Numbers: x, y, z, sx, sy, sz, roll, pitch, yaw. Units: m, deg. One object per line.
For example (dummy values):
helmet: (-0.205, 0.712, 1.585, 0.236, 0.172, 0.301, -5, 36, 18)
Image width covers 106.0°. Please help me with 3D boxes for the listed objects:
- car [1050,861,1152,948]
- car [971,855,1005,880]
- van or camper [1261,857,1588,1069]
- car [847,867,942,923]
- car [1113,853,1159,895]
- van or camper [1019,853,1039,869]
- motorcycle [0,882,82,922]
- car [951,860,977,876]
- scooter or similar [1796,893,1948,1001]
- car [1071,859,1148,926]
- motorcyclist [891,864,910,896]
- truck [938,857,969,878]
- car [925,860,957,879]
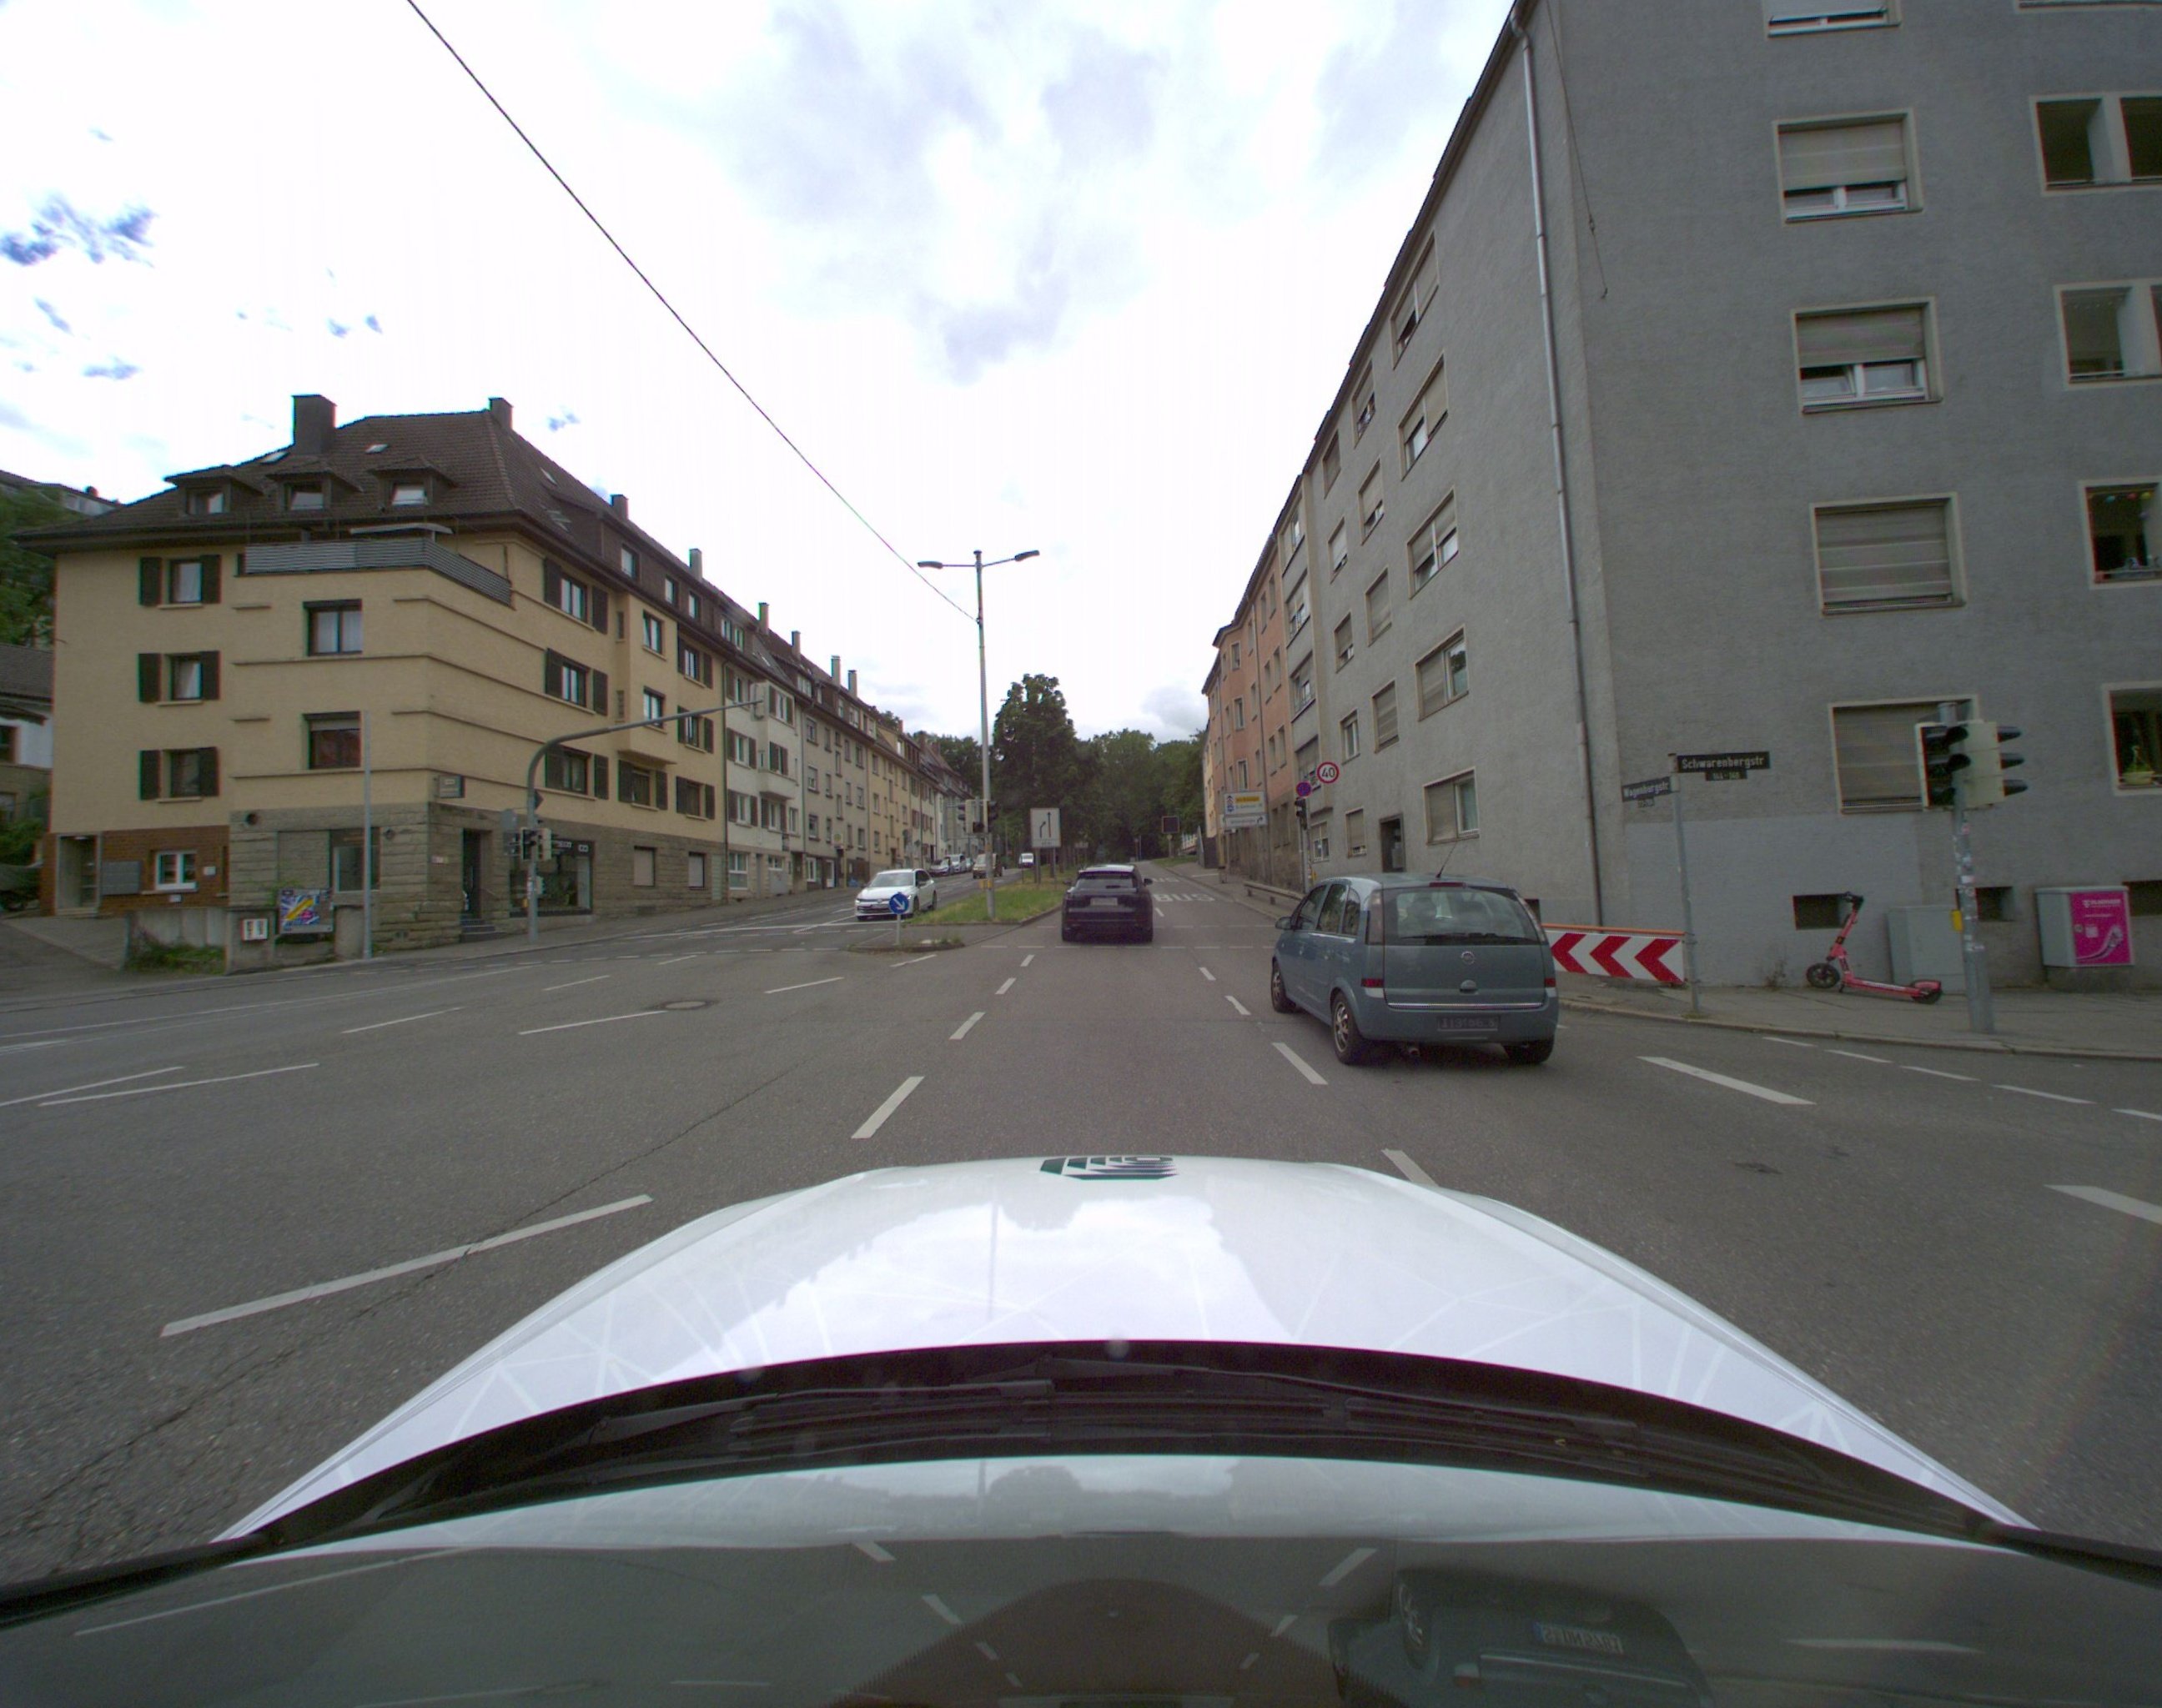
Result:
car: (0.537, 1.061, 18.753, 1.985, 1.653, 4.004, -4, -1, 3)
car: (-7.073, 1.033, 62.208, 1.871, 1.816, 4.354, -1, -1, 3)
van or camper: (2.994, 0.883, 7.978, 1.729, 1.578, 3.647, -1, -2, 2)
car: (-5.727, 1.210, 25.608, 1.739, 1.467, 4.587, -3, 0, 1)
car: (2.506, 0.853, 37.306, 1.926, 1.653, 4.004, -4, 1, 3)
van or camper: (-6.089, 0.872, 96.261, 1.900, 1.761, 4.657, -1, -1, 2)
motorcycle: (-32.086, 1.449, 24.857, 0.556, 1.134, 2.048, -1, -1, 4)
car: (-12.234, 1.472, 85.429, 1.986, 1.552, 4.383, -3, 0, 1)
scooter or similar: (9.643, 1.099, 9.988, 1.239, 1.216, 0.605, -2, -1, 38)
car: (0.871, 1.030, 23.523, 1.926, 1.653, 4.004, -4, 0, 3)
motorcyclist: (-8.548, 1.229, 38.526, 0.670, 1.475, 0.662, -2, -1, 3)
truck: (-12.463, 1.276, 80.103, 1.986, 1.920, 5.348, -3, 0, 1)
car: (-12.597, 1.395, 73.556, 1.986, 1.552, 4.159, -3, 0, 1)
